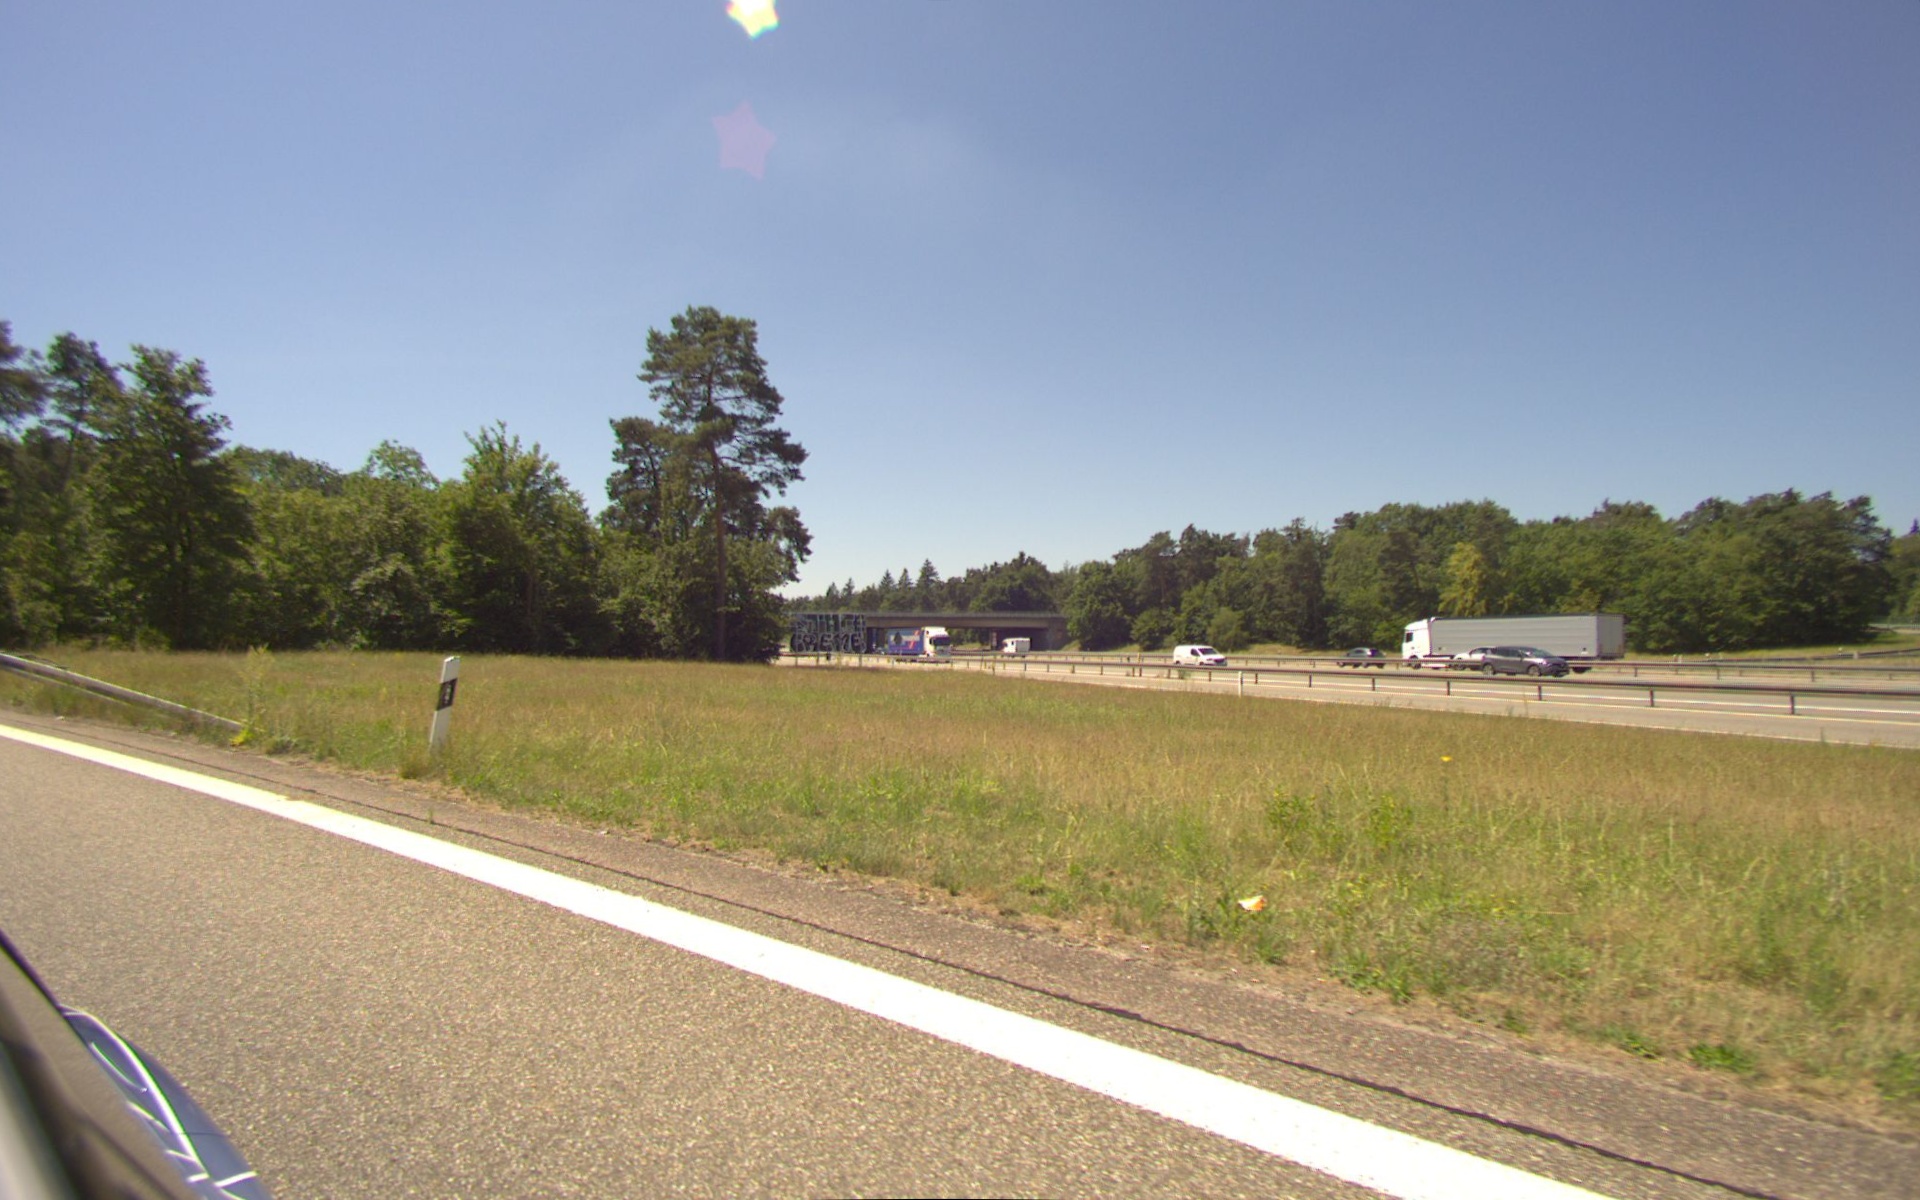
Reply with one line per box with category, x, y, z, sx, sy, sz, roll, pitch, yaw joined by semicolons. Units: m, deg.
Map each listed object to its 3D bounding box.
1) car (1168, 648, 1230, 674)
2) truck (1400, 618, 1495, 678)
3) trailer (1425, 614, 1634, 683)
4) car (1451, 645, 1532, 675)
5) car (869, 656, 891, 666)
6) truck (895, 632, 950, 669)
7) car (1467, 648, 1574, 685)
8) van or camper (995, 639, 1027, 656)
car;17.019;4.342;72.367;1.747;1.767;5.036;0;-3;-21
truck;37.654;3.717;78.430;2.897;4.426;6.291;2;-3;-22
trailer;40.096;3.458;72.344;2.883;4.421;14.342;2;-3;-22
car;34.440;3.895;65.727;1.965;1.863;4.371;1;-4;-20
car;-12.003;9.141;152.210;1.965;1.487;4.256;0;-2;-23
truck;-4.433;5.877;117.156;2.665;4.089;11.082;0;-3;-22
car;29.116;3.431;52.742;1.747;1.697;4.841;0;-1;-21
van or camper;7.313;6.837;145.314;2.210;2.395;5.846;2;-3;-24
